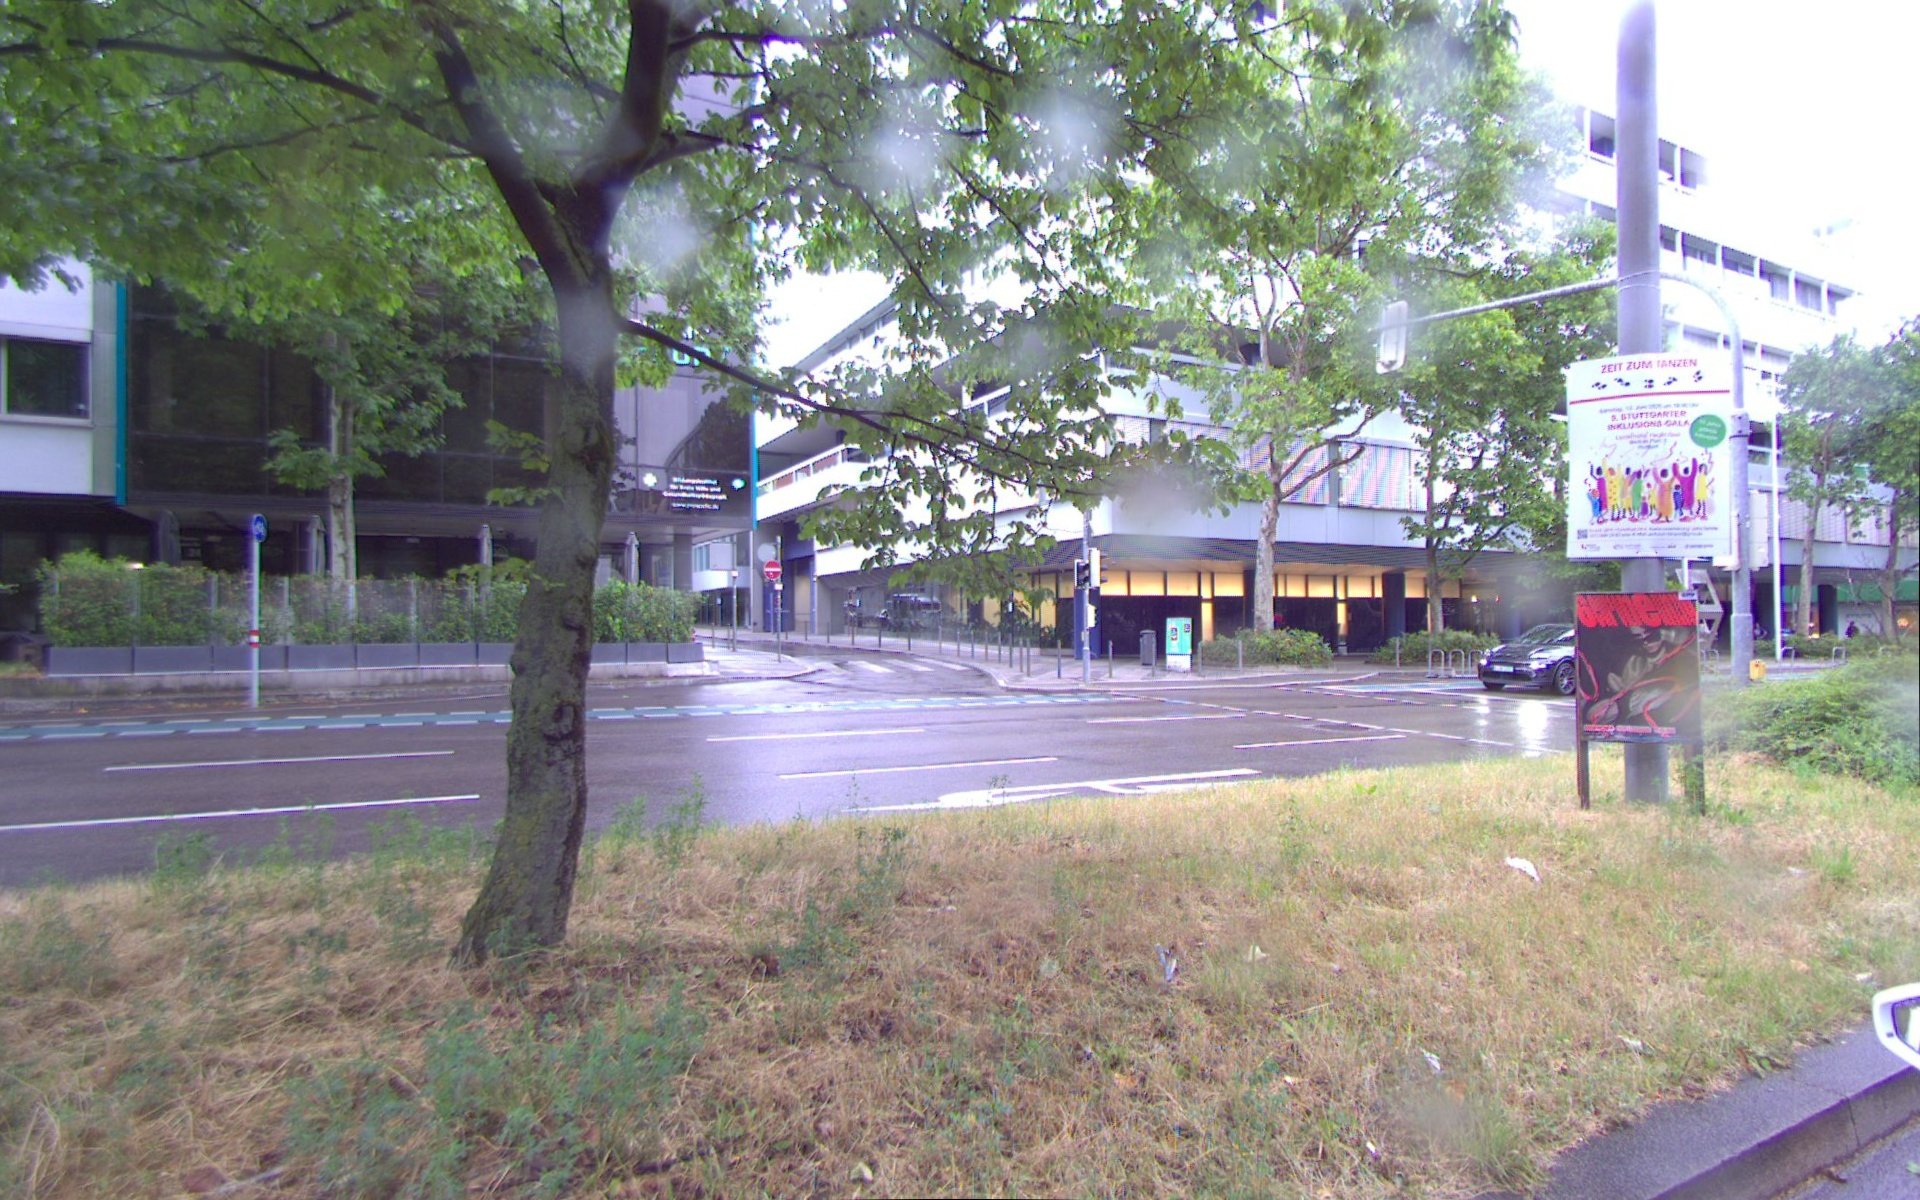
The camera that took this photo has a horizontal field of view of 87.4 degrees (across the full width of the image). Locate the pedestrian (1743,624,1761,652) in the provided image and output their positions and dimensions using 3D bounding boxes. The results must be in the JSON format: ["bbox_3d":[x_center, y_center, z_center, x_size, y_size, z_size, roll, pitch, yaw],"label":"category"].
[{"bbox_3d":[40.171,1.914,50.957,0.470,1.398,0.632,2,0,-40],"label":"pedestrian"}]

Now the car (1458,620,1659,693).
[{"bbox_3d":[14.541,1.359,24.366,4.683,1.605,1.903,2,0,-26],"label":"car"}]

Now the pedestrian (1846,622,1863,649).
[{"bbox_3d":[51.295,2.034,57.587,0.570,1.502,0.604,2,0,-40],"label":"pedestrian"}]
